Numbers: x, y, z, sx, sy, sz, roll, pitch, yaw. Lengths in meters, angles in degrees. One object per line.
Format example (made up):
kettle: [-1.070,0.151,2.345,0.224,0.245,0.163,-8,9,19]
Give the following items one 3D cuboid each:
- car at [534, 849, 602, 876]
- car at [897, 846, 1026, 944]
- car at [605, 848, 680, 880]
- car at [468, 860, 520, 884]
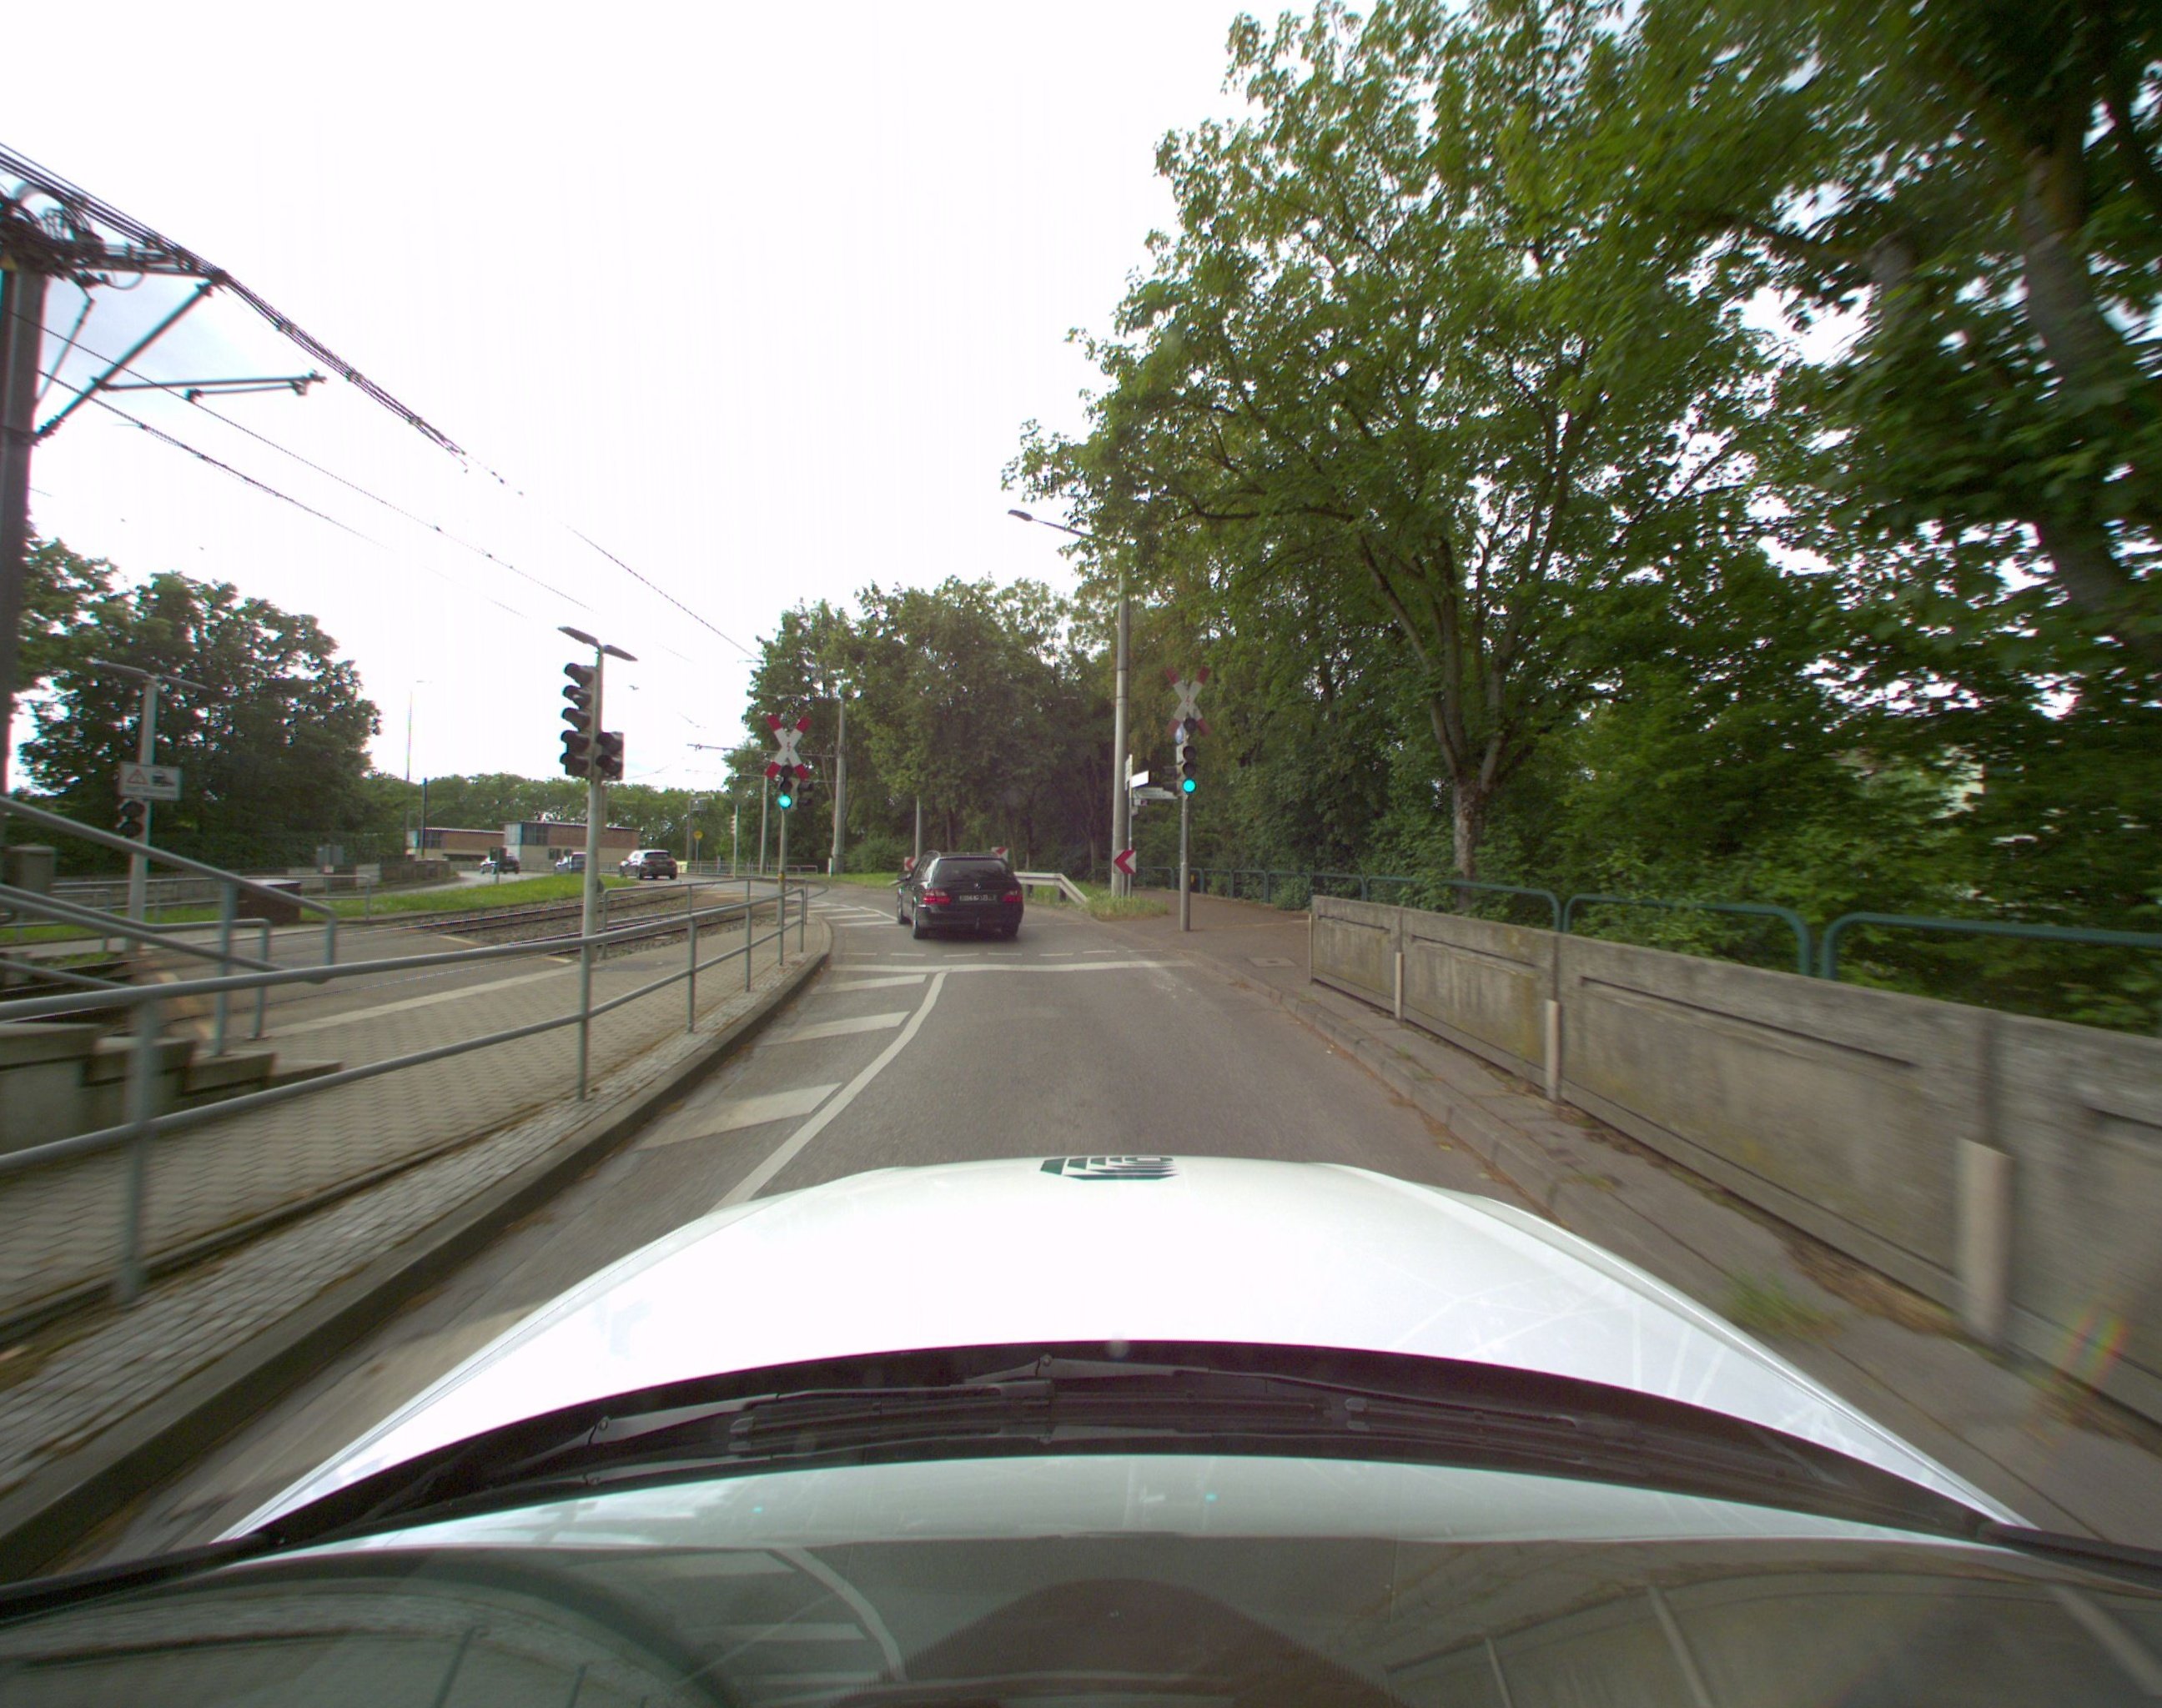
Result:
car: [-31.798,0.480,50.410,4.933,1.564,2.013,0,1,38]
car: [-2.379,0.623,15.224,1.763,1.515,4.417,0,1,-17]
car: [-22.439,0.507,41.601,4.186,1.555,1.787,0,0,37]
car: [-43.740,1.304,60.651,4.482,1.672,2.013,0,0,39]
